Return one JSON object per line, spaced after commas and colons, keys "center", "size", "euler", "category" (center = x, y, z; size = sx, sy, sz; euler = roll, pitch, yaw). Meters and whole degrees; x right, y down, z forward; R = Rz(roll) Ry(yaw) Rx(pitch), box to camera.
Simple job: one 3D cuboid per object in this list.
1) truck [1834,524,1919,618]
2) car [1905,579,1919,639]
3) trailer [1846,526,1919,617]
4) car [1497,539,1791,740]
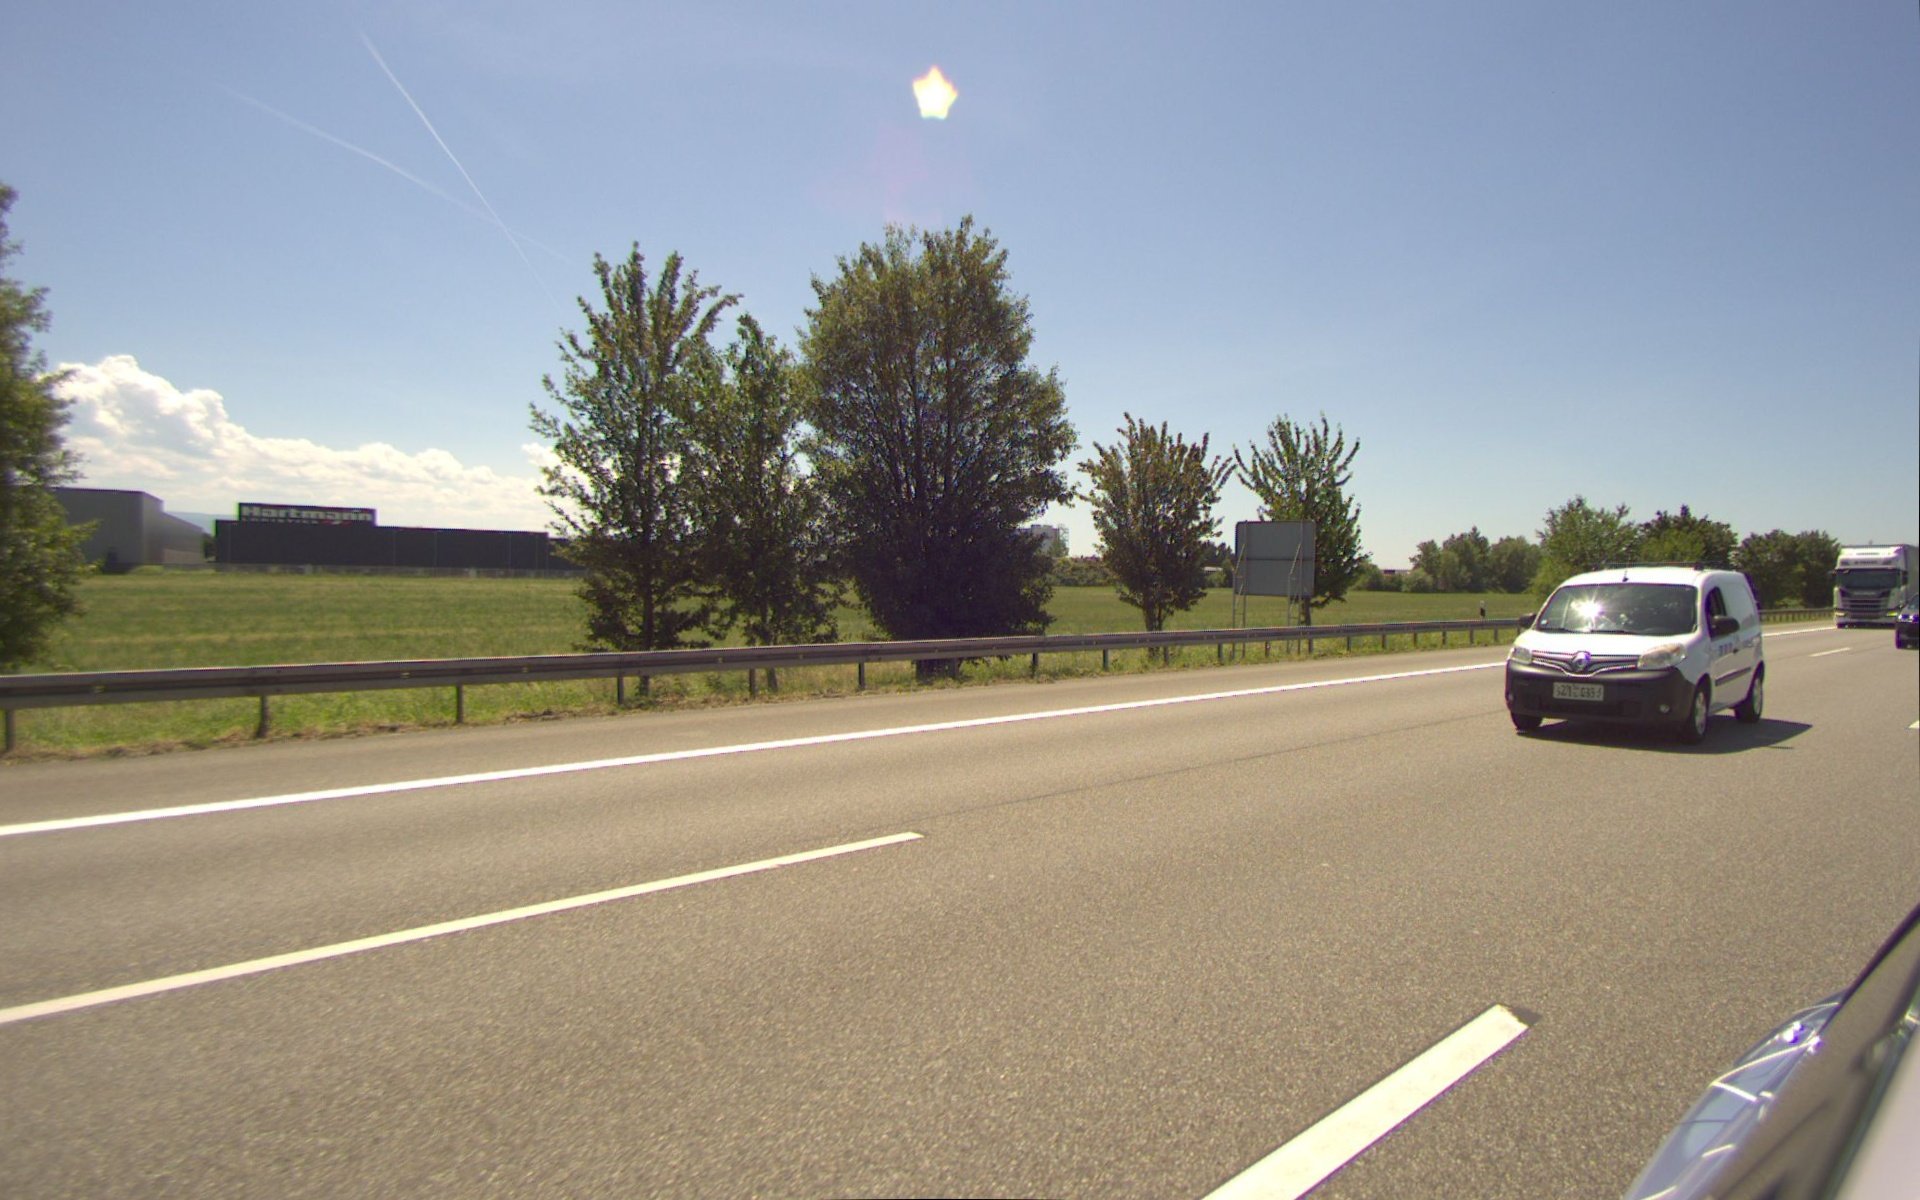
{"center": [46.048, -1.374, 50.361], "size": [7.066, 4.359, 2.815], "euler": [0, 0, -41], "category": "truck"}
{"center": [29.216, 0.231, 29.495], "size": [4.662, 1.696, 1.871], "euler": [0, 0, -40], "category": "car"}
{"center": [50.836, -1.406, 54.457], "size": [14.003, 4.359, 2.815], "euler": [0, 0, -41], "category": "trailer"}
{"center": [8.090, 0.356, 11.773], "size": [4.623, 1.886, 1.855], "euler": [0, 0, -43], "category": "car"}
